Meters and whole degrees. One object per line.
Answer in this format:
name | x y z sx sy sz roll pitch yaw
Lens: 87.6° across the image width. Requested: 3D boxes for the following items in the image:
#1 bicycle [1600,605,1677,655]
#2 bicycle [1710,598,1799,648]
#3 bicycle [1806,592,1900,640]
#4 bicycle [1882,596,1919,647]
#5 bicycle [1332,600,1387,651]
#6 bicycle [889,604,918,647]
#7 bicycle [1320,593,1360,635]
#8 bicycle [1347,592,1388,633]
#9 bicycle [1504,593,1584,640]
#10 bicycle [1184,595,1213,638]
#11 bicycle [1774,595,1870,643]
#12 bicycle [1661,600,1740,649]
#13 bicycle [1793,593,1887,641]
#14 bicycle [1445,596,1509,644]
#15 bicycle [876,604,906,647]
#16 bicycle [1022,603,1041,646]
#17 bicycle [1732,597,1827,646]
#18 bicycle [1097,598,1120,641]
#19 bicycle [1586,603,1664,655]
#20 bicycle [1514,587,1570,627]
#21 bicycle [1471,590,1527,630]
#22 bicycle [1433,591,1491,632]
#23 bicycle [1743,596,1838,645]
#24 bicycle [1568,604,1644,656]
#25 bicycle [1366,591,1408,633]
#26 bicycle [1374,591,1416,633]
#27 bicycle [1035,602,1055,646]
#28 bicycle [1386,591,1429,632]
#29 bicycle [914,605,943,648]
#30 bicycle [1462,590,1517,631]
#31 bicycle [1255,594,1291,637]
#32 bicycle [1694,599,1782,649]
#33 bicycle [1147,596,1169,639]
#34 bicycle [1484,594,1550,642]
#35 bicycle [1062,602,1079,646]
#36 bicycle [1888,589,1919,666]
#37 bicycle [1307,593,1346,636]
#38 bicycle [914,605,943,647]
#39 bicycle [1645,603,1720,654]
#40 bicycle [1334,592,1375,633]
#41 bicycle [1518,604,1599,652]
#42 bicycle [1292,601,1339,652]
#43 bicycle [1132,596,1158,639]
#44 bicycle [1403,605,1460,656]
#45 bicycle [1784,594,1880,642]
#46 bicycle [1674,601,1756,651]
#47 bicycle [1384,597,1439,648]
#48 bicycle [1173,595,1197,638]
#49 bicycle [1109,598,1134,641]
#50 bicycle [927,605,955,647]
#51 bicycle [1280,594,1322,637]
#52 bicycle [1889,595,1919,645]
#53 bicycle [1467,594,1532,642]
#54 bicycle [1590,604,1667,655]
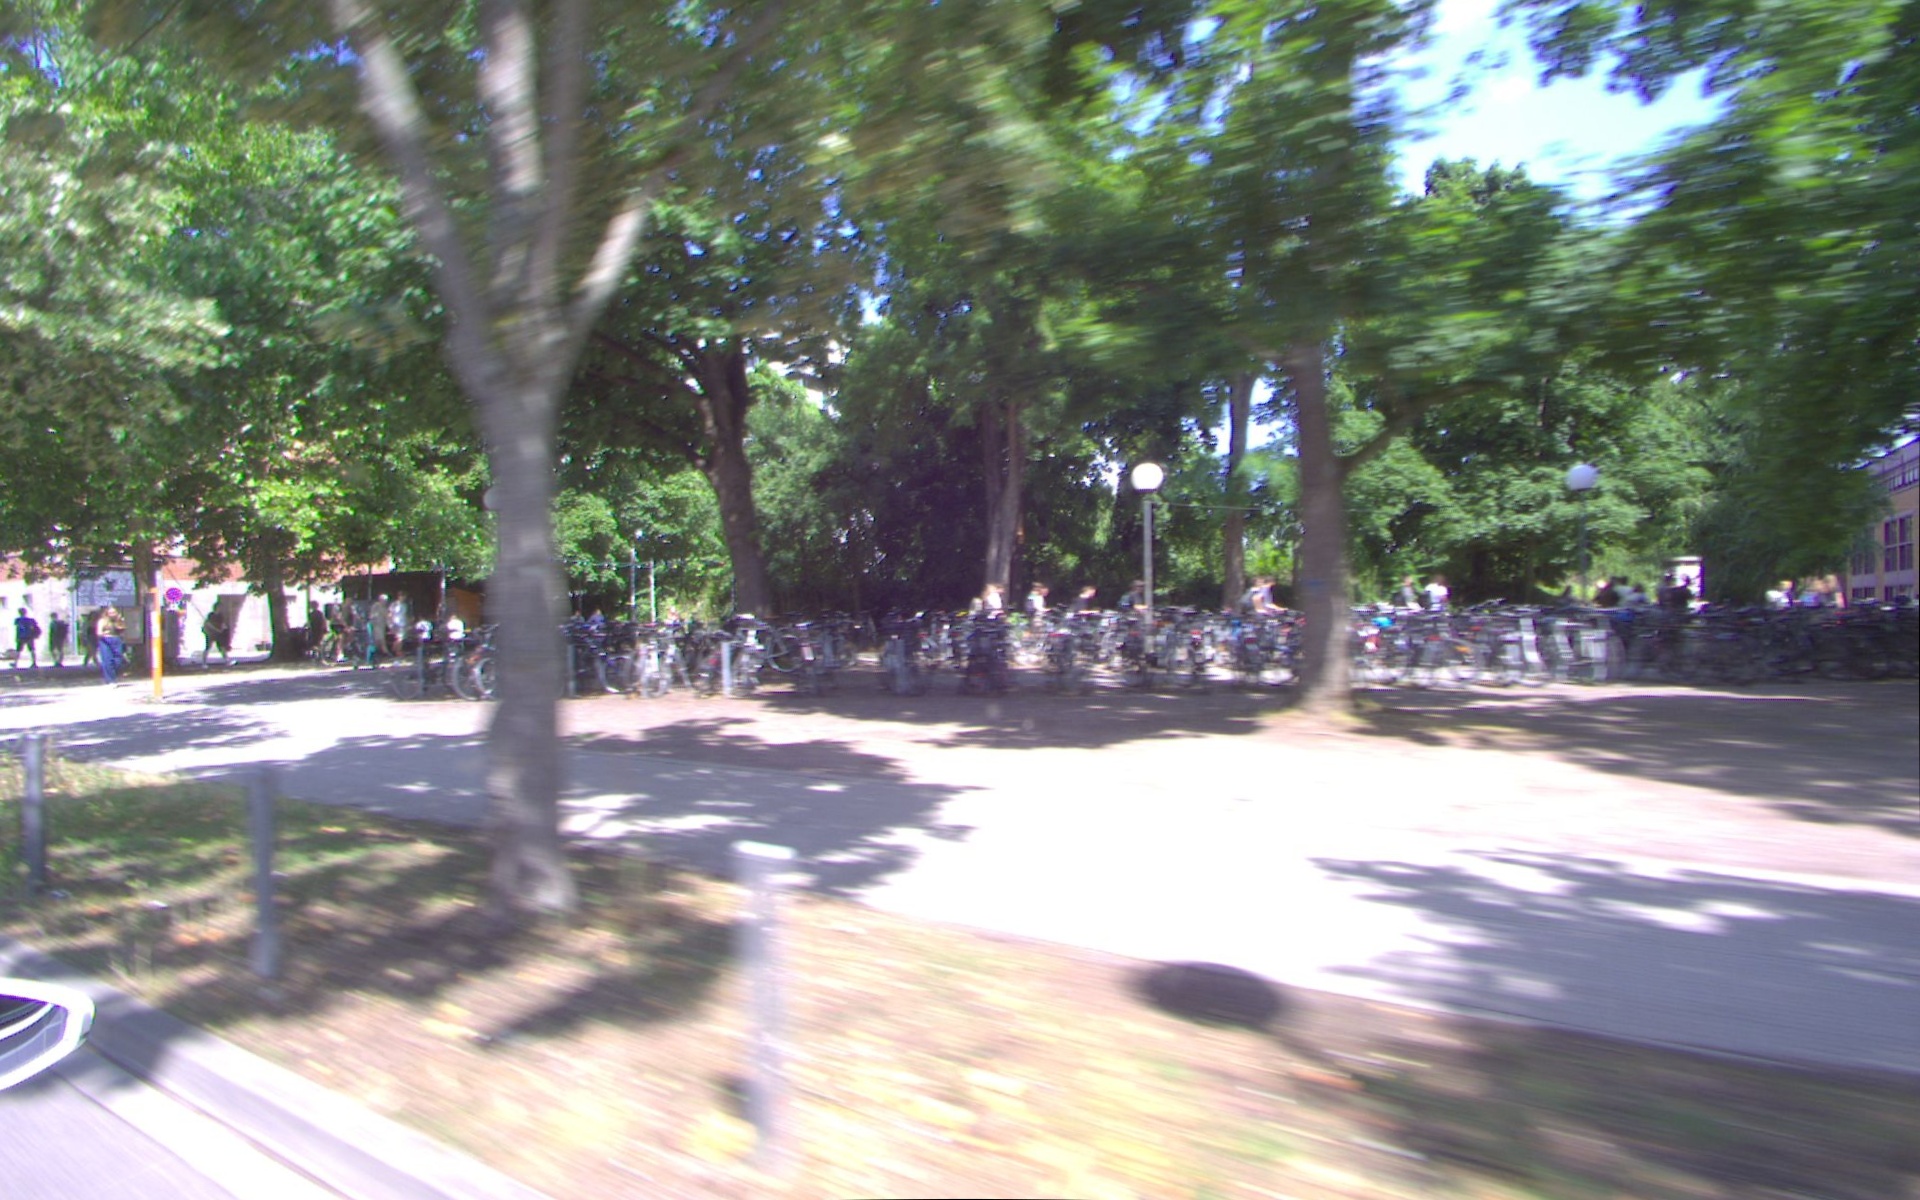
bicycle | 15.238 0.669 22.529 0.347 1.097 1.467 2 -2 -24
bicycle | 18.407 0.544 23.249 0.470 1.097 1.687 2 -2 -13
bicycle | 21.659 0.396 24.323 0.470 1.097 1.685 2 -2 -18
bicycle | 21.000 0.469 21.702 0.348 1.097 1.465 2 -2 -29
bicycle | 8.372 0.516 21.045 0.469 0.992 1.903 -1 1 3
bicycle | -1.546 0.675 27.436 0.469 1.108 1.752 -1 1 7
bicycle | 10.329 0.368 27.256 0.341 1.108 1.610 -2 1 -5
bicycle | 11.275 0.329 27.721 0.341 1.108 1.610 -2 1 -5
bicycle | 12.795 0.341 21.983 0.371 0.992 1.799 -2 1 -13
bicycle | 6.439 0.426 27.100 0.469 1.108 1.611 -1 1 3
bicycle | 20.370 0.458 23.705 0.471 1.097 1.682 2 -2 -25
bicycle | 17.282 0.572 23.395 0.347 1.097 1.465 2 -2 -28
bicycle | 21.202 0.417 24.158 0.470 1.097 1.685 2 -2 -18
bicycle | 11.064 0.407 21.487 0.396 0.992 1.596 -2 1 -7
bicycle | -1.887 0.684 27.472 0.469 1.108 1.752 -1 1 7
bicycle | 1.931 0.645 27.136 0.469 1.108 1.611 -1 1 3
bicycle | 19.117 0.509 23.388 0.471 1.097 1.682 2 -2 -25
bicycle | 3.984 0.509 26.928 0.469 1.108 1.611 -1 1 3
bicycle | 14.657 0.640 22.096 0.347 1.097 1.467 2 -2 -24
bicycle | 16.780 0.204 28.887 0.342 1.108 1.608 -2 1 -16
bicycle | 15.215 0.276 28.296 0.342 1.108 1.608 -2 1 -16
bicycle | 14.098 0.316 28.146 0.342 1.108 1.605 -2 1 -24
bicycle | 19.547 0.487 23.595 0.471 1.097 1.682 2 -2 -25
bicycle | 14.096 0.666 21.883 0.347 1.097 1.467 1 -2 -23
bicycle | 11.752 0.320 27.616 0.330 1.108 1.610 -2 1 -5
bicycle | 11.989 0.312 27.651 0.341 1.108 1.610 -2 1 -5
bicycle | 2.304 0.633 27.167 0.469 1.108 1.611 -1 1 3
bicycle | 12.332 0.302 27.650 0.341 1.108 1.610 -2 1 -5
bicycle | -0.856 0.707 27.635 0.341 1.108 1.609 -1 1 14
bicycle | 14.889 0.290 28.197 0.342 1.108 1.608 -2 1 -16
bicycle | 8.313 0.391 26.627 0.341 1.108 1.611 -2 1 -3
bicycle | 17.947 0.562 23.146 0.470 1.097 1.687 2 -2 -13
bicycle | 5.353 0.460 27.126 0.341 1.108 1.611 -1 1 3
bicycle | 12.100 0.366 21.812 0.396 0.992 1.596 -2 1 -7
bicycle | 2.952 0.628 26.836 0.341 1.108 1.611 -1 1 3
bicycle | 15.119 0.426 15.087 0.406 1.186 1.844 -1 0 -6
bicycle | 9.950 0.379 27.245 0.341 1.108 1.610 -2 1 -5
bicycle | -0.855 0.706 27.649 0.341 1.108 1.609 -1 1 14
bicycle | 16.250 0.638 22.556 0.346 1.097 1.469 2 -2 -16
bicycle | 10.907 0.331 27.723 0.341 1.108 1.610 -2 1 -5
bicycle | 13.165 0.595 22.070 0.371 0.992 1.799 -2 1 -13
bicycle | 7.425 0.529 20.995 0.371 0.992 1.903 -1 1 3
bicycle | 5.008 0.469 27.144 0.469 1.108 1.611 -1 1 3
bicycle | 9.946 0.615 21.161 0.371 0.992 1.903 -1 1 3
bicycle | 20.801 0.436 23.913 0.471 1.097 1.682 2 -2 -25
bicycle | 17.184 0.600 22.807 0.348 1.097 1.464 2 -2 -31
bicycle | 9.528 0.454 21.176 0.371 0.992 1.903 -1 1 3
bicycle | 6.088 0.434 27.121 0.341 1.108 1.611 -1 1 3
bicycle | 4.330 0.499 26.915 0.469 1.108 1.611 -1 1 3
bicycle | -0.512 0.700 27.553 0.341 1.108 1.609 -1 1 14
bicycle | 9.195 0.410 27.041 0.469 1.108 1.610 -2 1 -5
bicycle | 21.340 0.450 21.897 0.348 1.097 1.465 2 -2 -29
bicycle | 11.713 0.376 21.773 0.396 0.992 1.596 -2 1 -7
bicycle | 14.918 0.654 22.382 0.347 1.097 1.467 2 -2 -24
